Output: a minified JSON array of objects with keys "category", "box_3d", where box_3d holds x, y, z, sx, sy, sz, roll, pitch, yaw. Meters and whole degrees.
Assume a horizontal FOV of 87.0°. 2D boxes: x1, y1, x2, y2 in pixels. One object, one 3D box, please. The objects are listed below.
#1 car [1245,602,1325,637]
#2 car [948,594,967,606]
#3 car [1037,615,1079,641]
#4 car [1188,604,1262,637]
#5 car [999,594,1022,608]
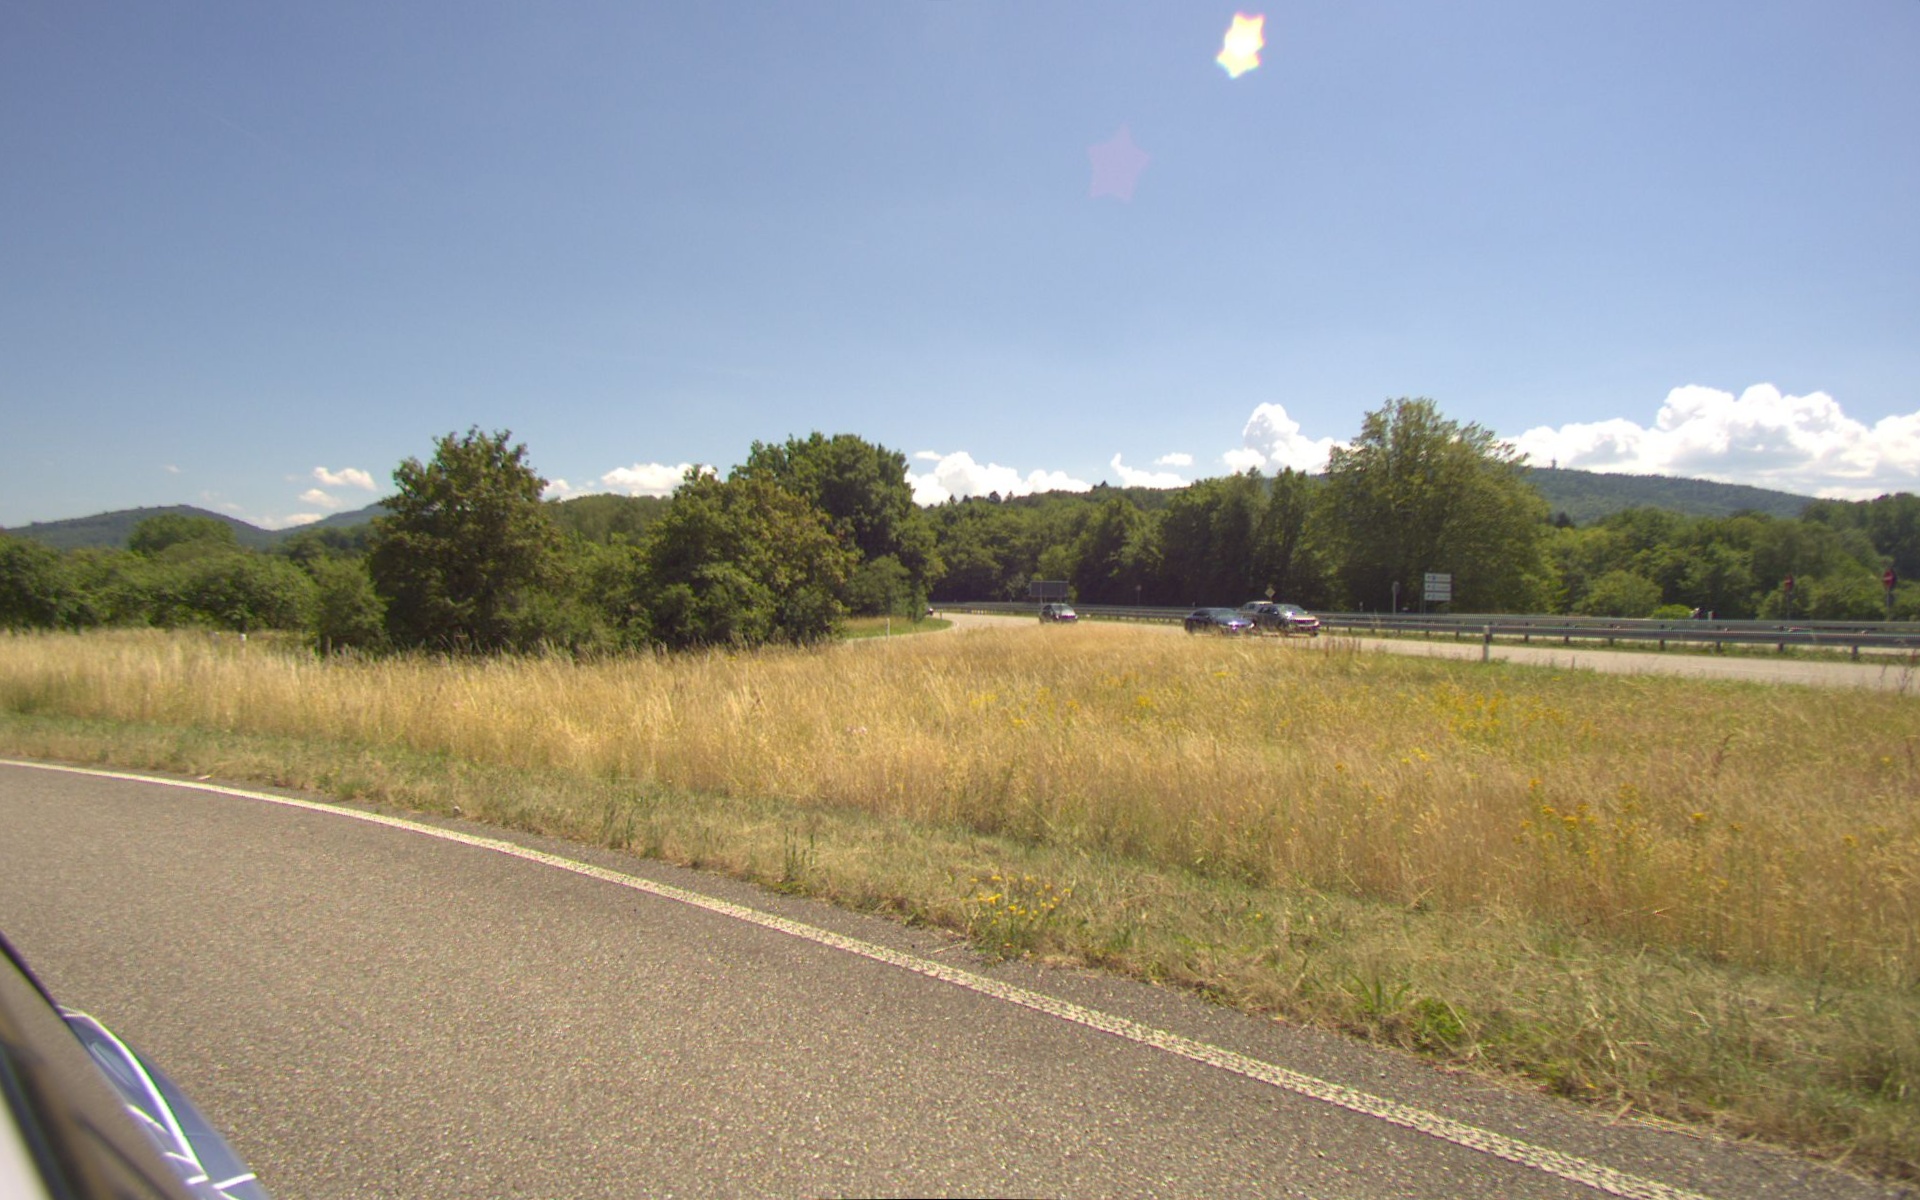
[{"category":"car","box_3d":[15.666,0.933,49.008,1.817,1.541,4.478,-2,-1,-9]},{"category":"car","box_3d":[-0.415,0.004,163.208,1.967,1.907,4.924,-1,0,-12]},{"category":"car","box_3d":[7.079,1.986,73.451,1.769,1.680,4.566,0,1,-12]},{"category":"car","box_3d":[12.536,0.966,48.151,1.818,1.418,4.476,-2,-1,-7]},{"category":"car","box_3d":[7.015,0.118,140.744,1.967,1.907,4.924,-1,0,-12]}]
